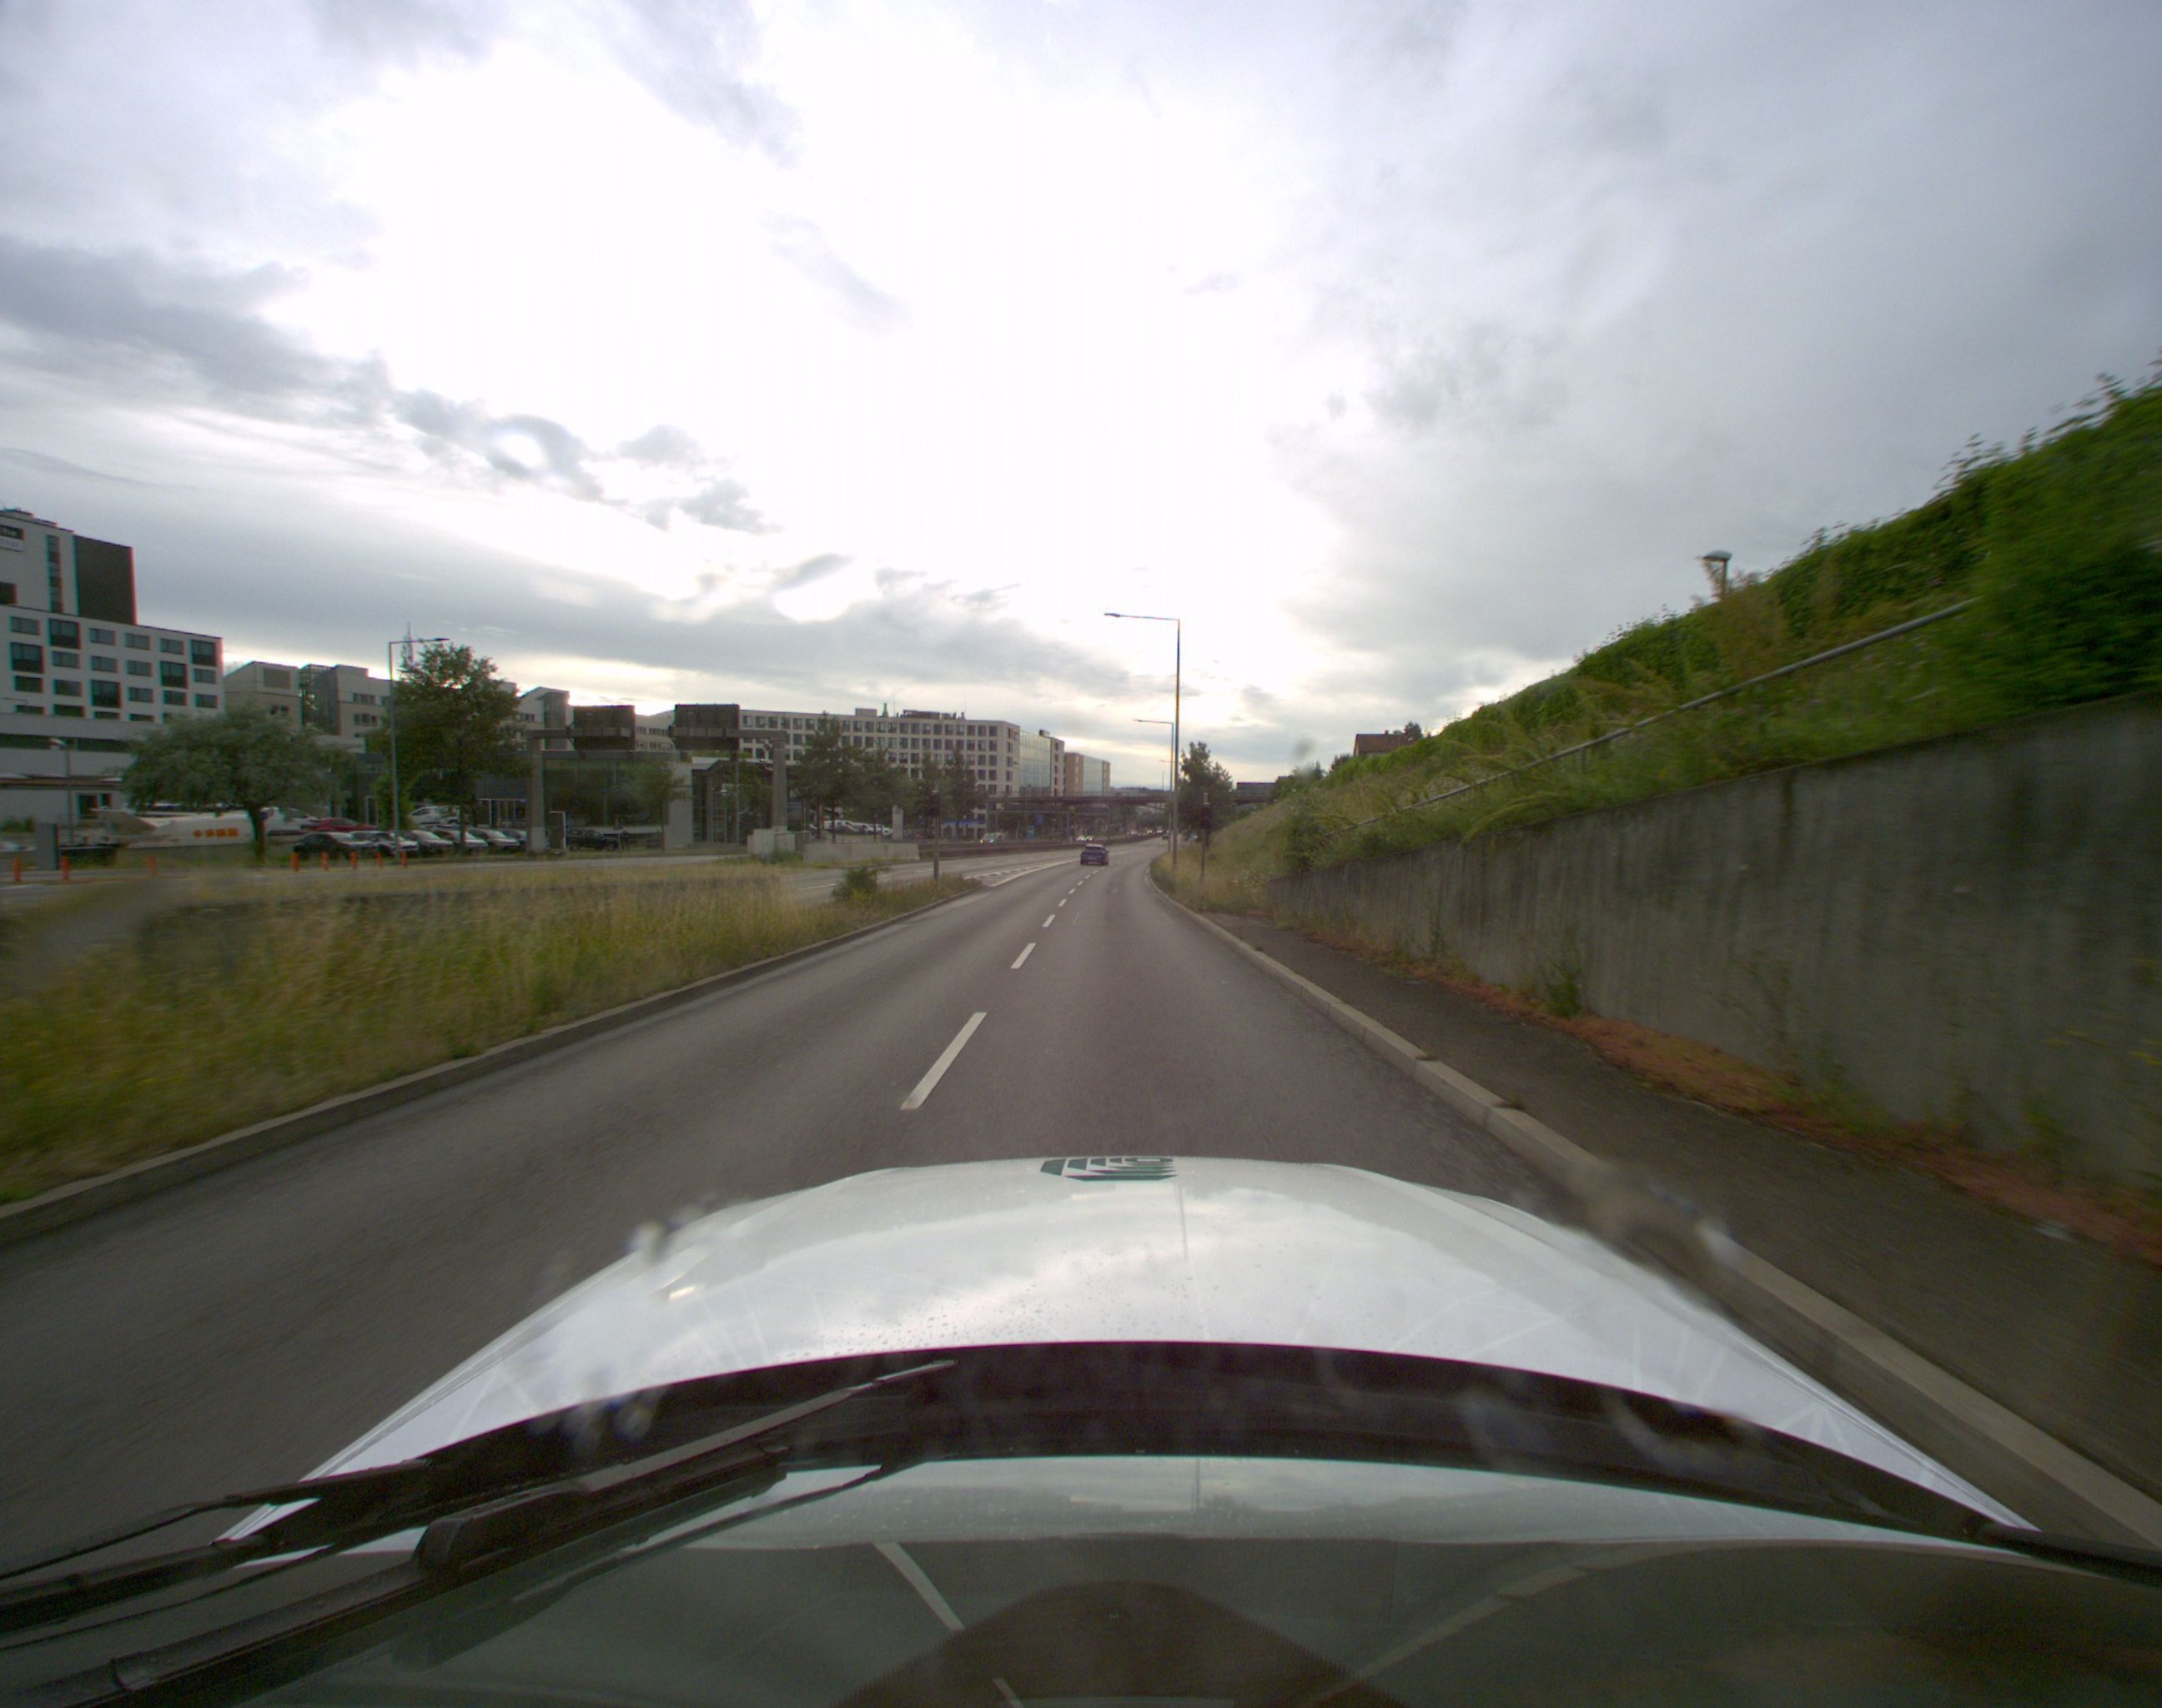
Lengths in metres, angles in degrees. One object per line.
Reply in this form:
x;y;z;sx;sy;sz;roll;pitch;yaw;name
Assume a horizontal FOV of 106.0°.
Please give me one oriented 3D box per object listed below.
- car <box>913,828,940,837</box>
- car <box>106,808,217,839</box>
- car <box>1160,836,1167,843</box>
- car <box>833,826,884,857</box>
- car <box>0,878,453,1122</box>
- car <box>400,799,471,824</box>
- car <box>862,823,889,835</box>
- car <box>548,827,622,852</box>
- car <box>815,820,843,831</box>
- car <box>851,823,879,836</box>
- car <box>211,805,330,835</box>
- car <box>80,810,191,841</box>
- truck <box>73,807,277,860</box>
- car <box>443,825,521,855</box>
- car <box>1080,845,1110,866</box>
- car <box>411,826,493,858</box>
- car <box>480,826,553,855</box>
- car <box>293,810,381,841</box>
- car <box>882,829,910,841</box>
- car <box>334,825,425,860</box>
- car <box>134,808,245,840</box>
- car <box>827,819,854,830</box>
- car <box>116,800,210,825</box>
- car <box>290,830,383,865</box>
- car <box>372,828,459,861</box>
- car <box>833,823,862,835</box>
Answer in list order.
-26.435;-3.634;139.543;3.962;1.353;1.855;4;2;11;car
-56.010;-1.920;49.703;1.904;1.683;4.017;4;4;14;car
24.376;-4.435;240.841;1.854;1.749;4.008;3;4;5;car
-13.352;-0.781;49.034;1.679;1.589;3.557;3;4;7;car
-8.942;1.185;7.826;1.742;1.617;4.758;2;1;6;car
-51.572;-3.420;65.135;4.001;1.781;1.911;1;4;-21;car
-35.739;-4.353;141.416;3.959;1.650;2.008;4;4;14;car
-38.022;-1.169;62.512;1.900;1.683;4.530;5;5;27;car
-42.031;-4.785;135.759;3.966;1.650;2.005;3;4;7;car
-36.026;-4.159;136.001;3.959;1.875;2.008;4;4;14;car
-56.037;-2.342;56.474;1.979;1.881;5.559;4;3;15;car
-58.124;-1.783;50.167;1.904;1.683;4.017;4;4;14;car
-50.630;-1.286;45.892;2.351;2.526;7.437;4;4;11;truck
-40.005;-0.954;54.425;3.963;1.683;1.929;4;4;9;car
1.034;0.082;59.028;1.739;1.420;3.486;-1;2;7;car
-40.271;-0.797;52.172;3.963;1.683;1.929;4;4;9;car
-39.391;-0.958;56.872;3.963;1.683;1.929;4;4;9;car
-50.605;-1.998;55.491;1.888;1.880;4.017;4;4;15;car
-28.957;-2.977;127.204;4.001;1.650;1.987;3;2;-21;car
-40.881;-0.694;47.509;3.963;1.683;1.929;4;4;9;car
-53.293;-1.829;48.799;1.904;1.683;4.017;4;4;14;car
-41.913;-5.151;141.974;3.968;1.650;1.825;3;4;5;car
-66.106;-3.007;58.711;1.904;1.683;4.017;4;4;14;car
-41.420;-0.399;45.327;3.977;1.599;1.704;4;4;9;car
-40.655;-0.626;49.778;3.963;1.683;1.929;4;4;9;car
-37.521;-4.061;131.093;3.966;1.650;2.005;3;4;7;car
